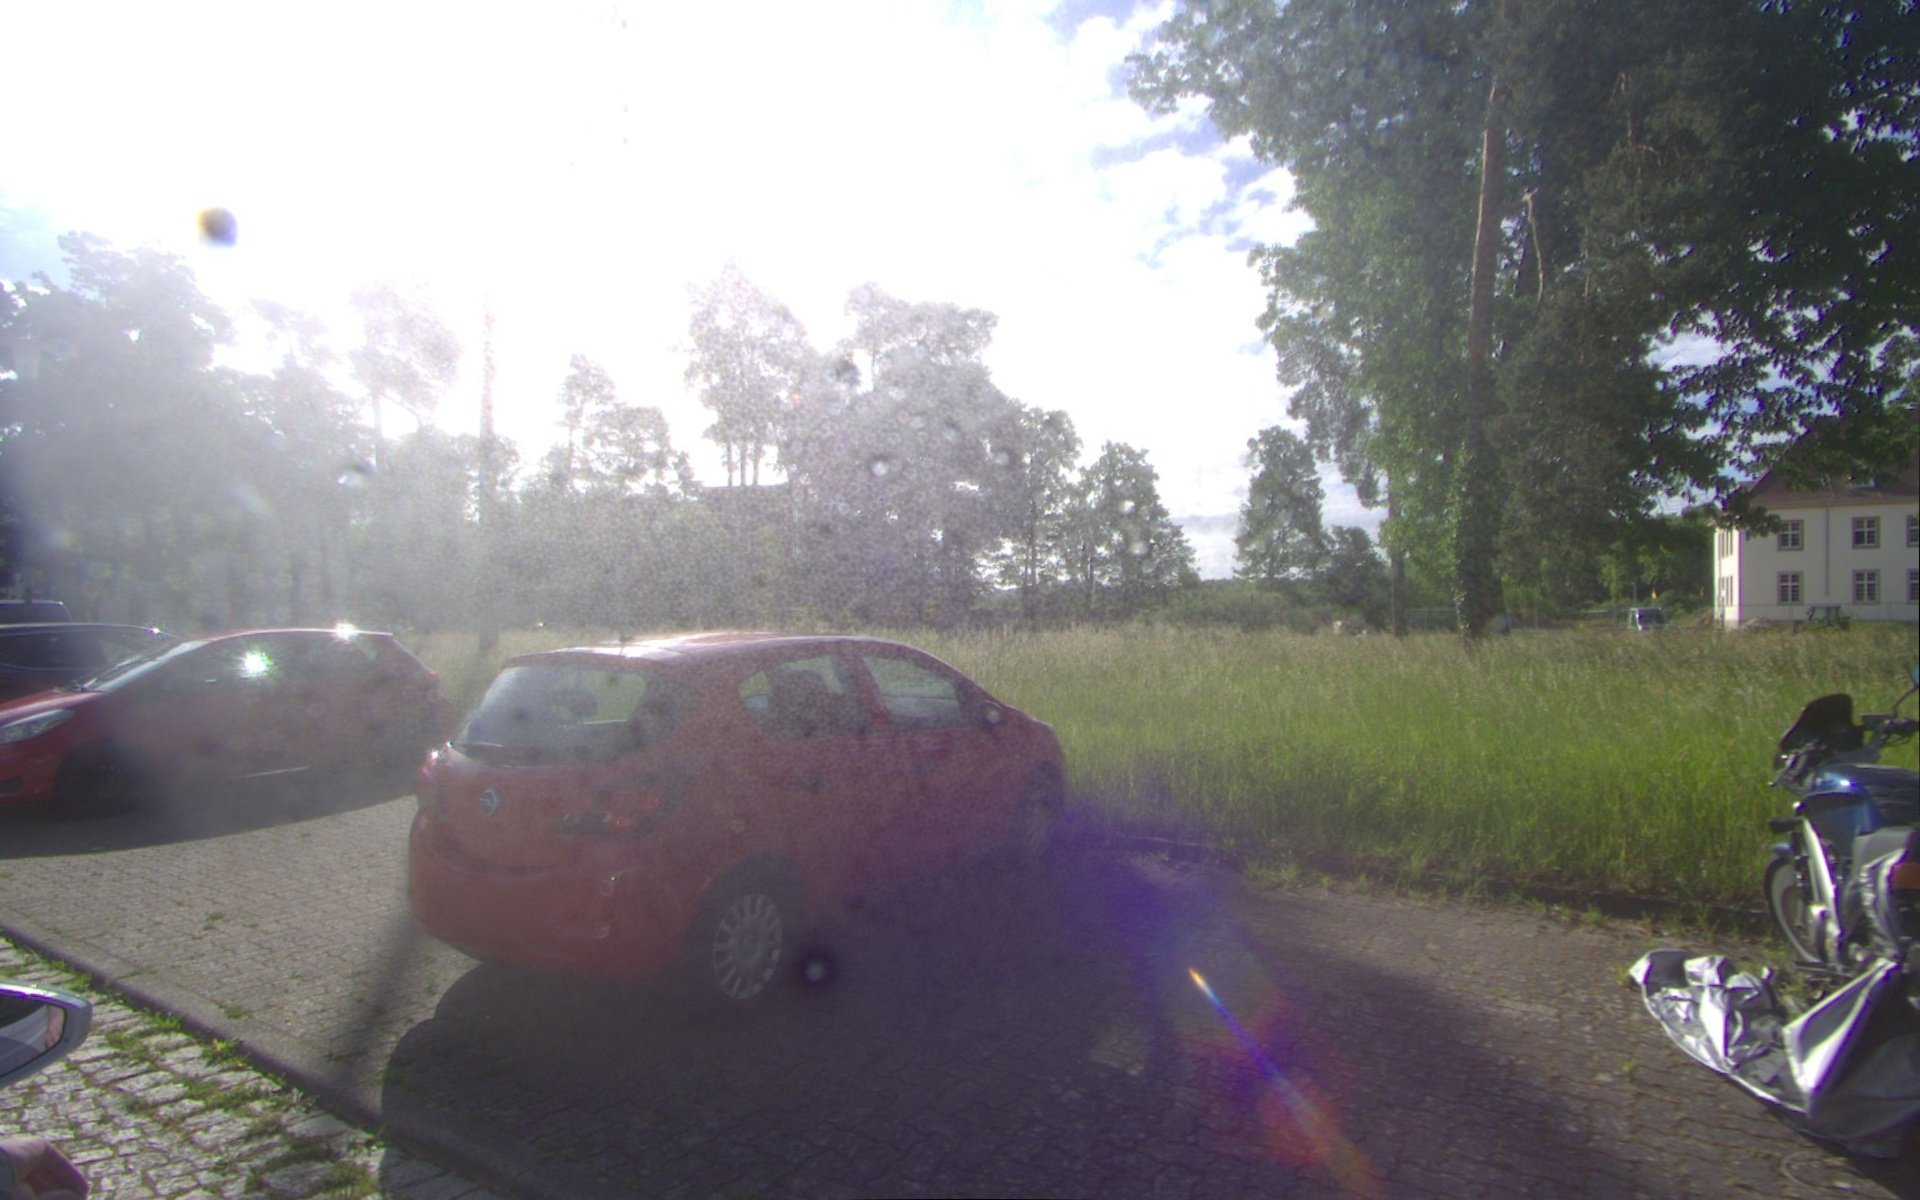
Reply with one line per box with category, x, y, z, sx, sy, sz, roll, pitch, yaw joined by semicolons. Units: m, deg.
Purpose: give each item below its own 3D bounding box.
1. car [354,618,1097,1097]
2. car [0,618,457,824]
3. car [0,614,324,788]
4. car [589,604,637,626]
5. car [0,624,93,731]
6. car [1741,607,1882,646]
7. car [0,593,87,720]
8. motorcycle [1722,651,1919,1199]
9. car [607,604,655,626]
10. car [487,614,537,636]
car;-0.802;0.876;5.315;1.622;1.498;3.819;0;0;32
car;-7.030;0.952;9.502;1.622;1.550;3.755;0;-1;32
car;-9.357;0.980;10.740;1.746;1.643;3.930;0;-1;31
car;-32.677;1.445;94.456;1.971;2.040;3.979;0;-1;32
car;-14.786;1.123;13.992;1.621;1.508;3.714;0;0;30
car;50.337;1.599;59.337;2.346;2.199;5.976;0;-2;-35
car;-16.918;0.897;15.563;2.052;2.040;4.672;0;-1;29
motorcycle;3.023;0.887;3.201;0.716;1.338;2.295;0;0;32
car;-30.666;1.410;93.393;1.971;2.040;3.979;0;-1;32
car;-43.000;2.373;96.145;1.971;2.040;3.979;0;-1;32
